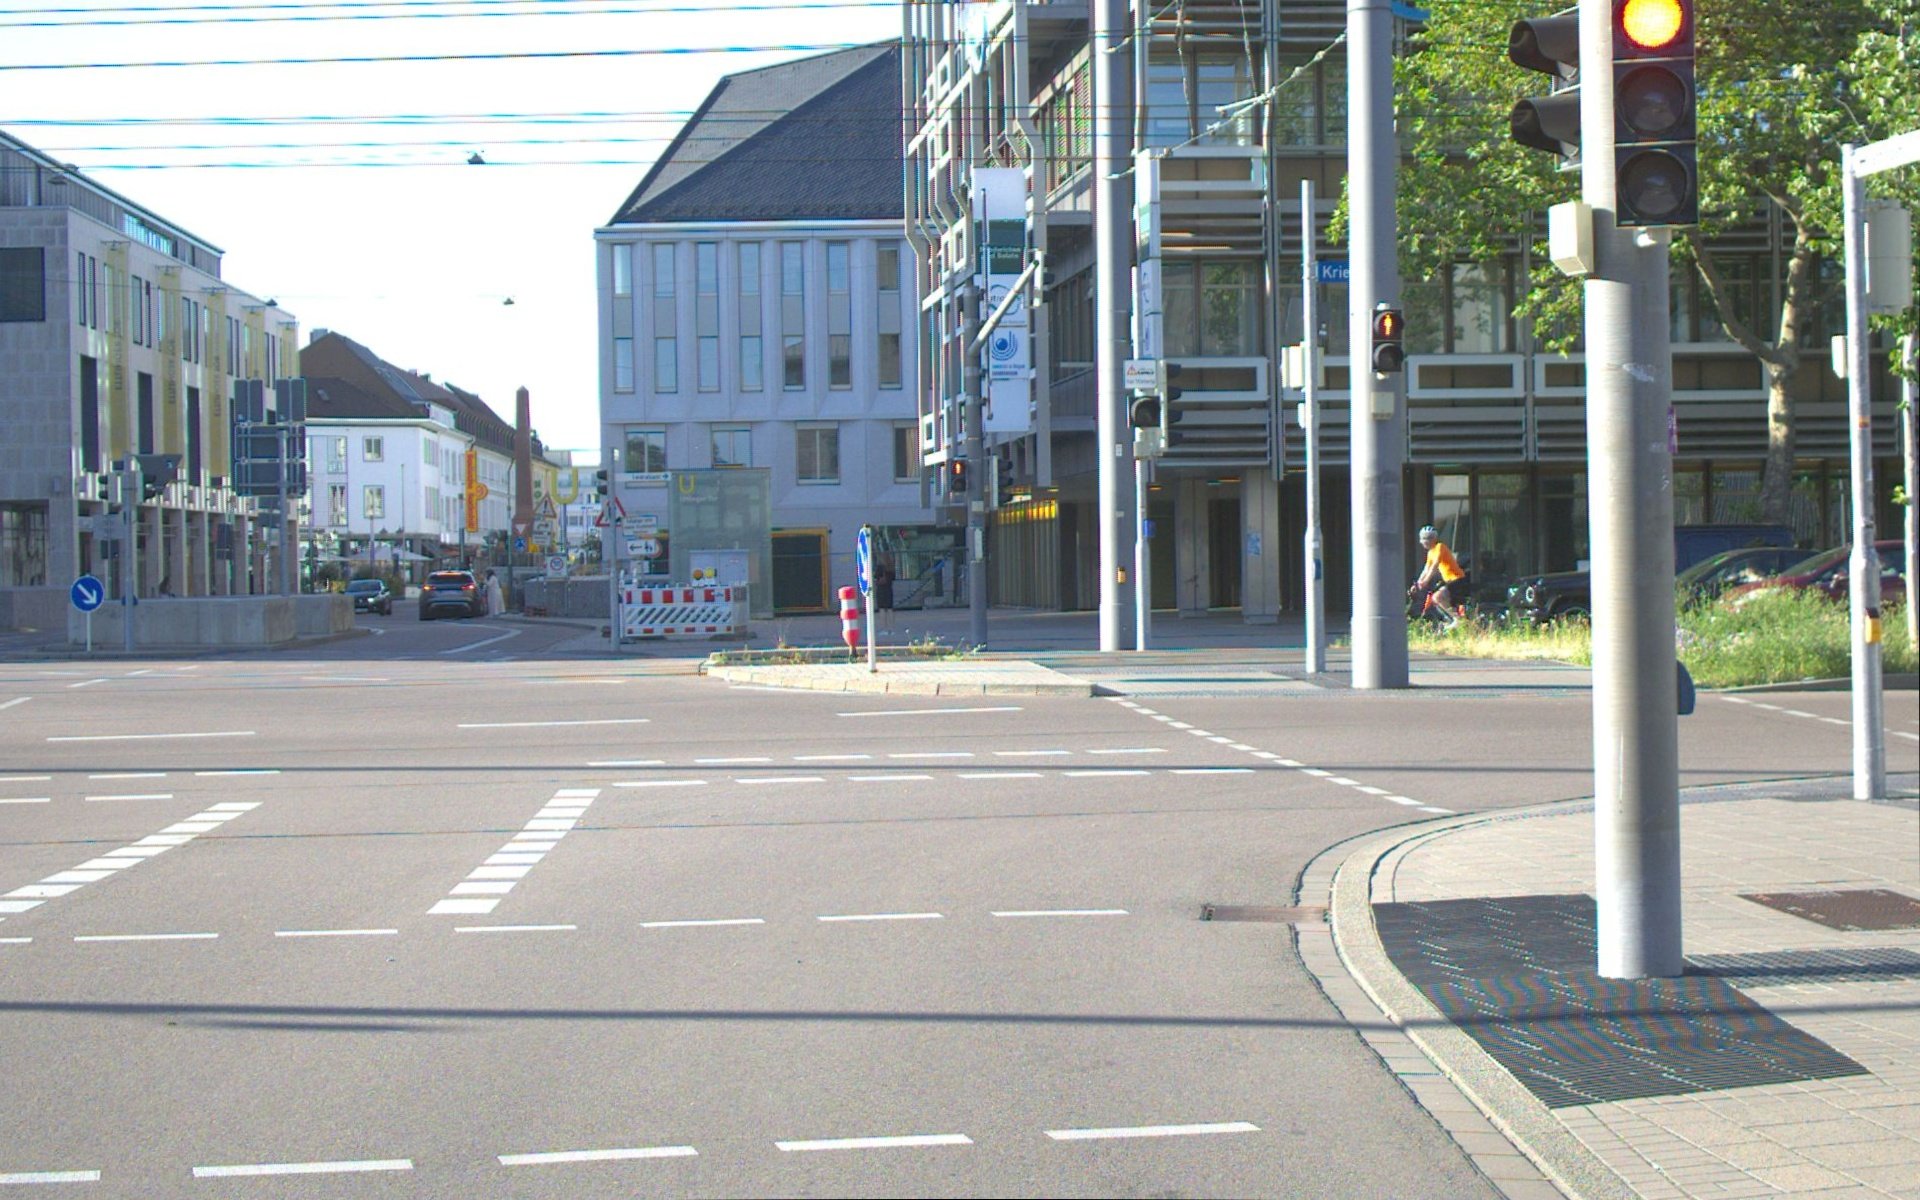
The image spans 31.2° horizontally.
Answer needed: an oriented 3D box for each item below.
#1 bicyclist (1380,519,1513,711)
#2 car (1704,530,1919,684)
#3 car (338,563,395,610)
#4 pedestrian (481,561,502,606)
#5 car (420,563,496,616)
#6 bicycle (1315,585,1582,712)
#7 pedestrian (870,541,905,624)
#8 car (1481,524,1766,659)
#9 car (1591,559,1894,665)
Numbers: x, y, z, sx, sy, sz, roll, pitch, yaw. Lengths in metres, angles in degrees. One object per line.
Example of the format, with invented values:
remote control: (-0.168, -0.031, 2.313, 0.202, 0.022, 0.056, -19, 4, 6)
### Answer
bicyclist: (6.664, 0.193, 47.144, 1.567, 2.571, 0.932, -1, 1, -9)
car: (12.289, 0.091, 46.413, 3.986, 2.007, 2.000, 1, 0, -3)
car: (-23.325, -0.535, 135.216, 1.756, 1.777, 4.001, -1, 1, -4)
pedestrian: (-14.784, -0.513, 108.522, 0.609, 1.406, 0.570, -1, 1, -6)
car: (-15.807, -0.352, 108.426, 2.199, 1.601, 4.327, -1, 1, -6)
bicycle: (6.695, 0.652, 47.150, 3.490, 1.653, 0.932, -1, 1, -9)
pedestrian: (-1.474, -0.356, 69.630, 0.663, 1.652, 0.755, -1, 1, -3)
car: (10.347, -0.140, 53.782, 3.986, 2.007, 2.000, 1, 0, -3)
car: (11.496, 0.161, 50.665, 3.986, 1.503, 1.868, 0, 1, -3)
